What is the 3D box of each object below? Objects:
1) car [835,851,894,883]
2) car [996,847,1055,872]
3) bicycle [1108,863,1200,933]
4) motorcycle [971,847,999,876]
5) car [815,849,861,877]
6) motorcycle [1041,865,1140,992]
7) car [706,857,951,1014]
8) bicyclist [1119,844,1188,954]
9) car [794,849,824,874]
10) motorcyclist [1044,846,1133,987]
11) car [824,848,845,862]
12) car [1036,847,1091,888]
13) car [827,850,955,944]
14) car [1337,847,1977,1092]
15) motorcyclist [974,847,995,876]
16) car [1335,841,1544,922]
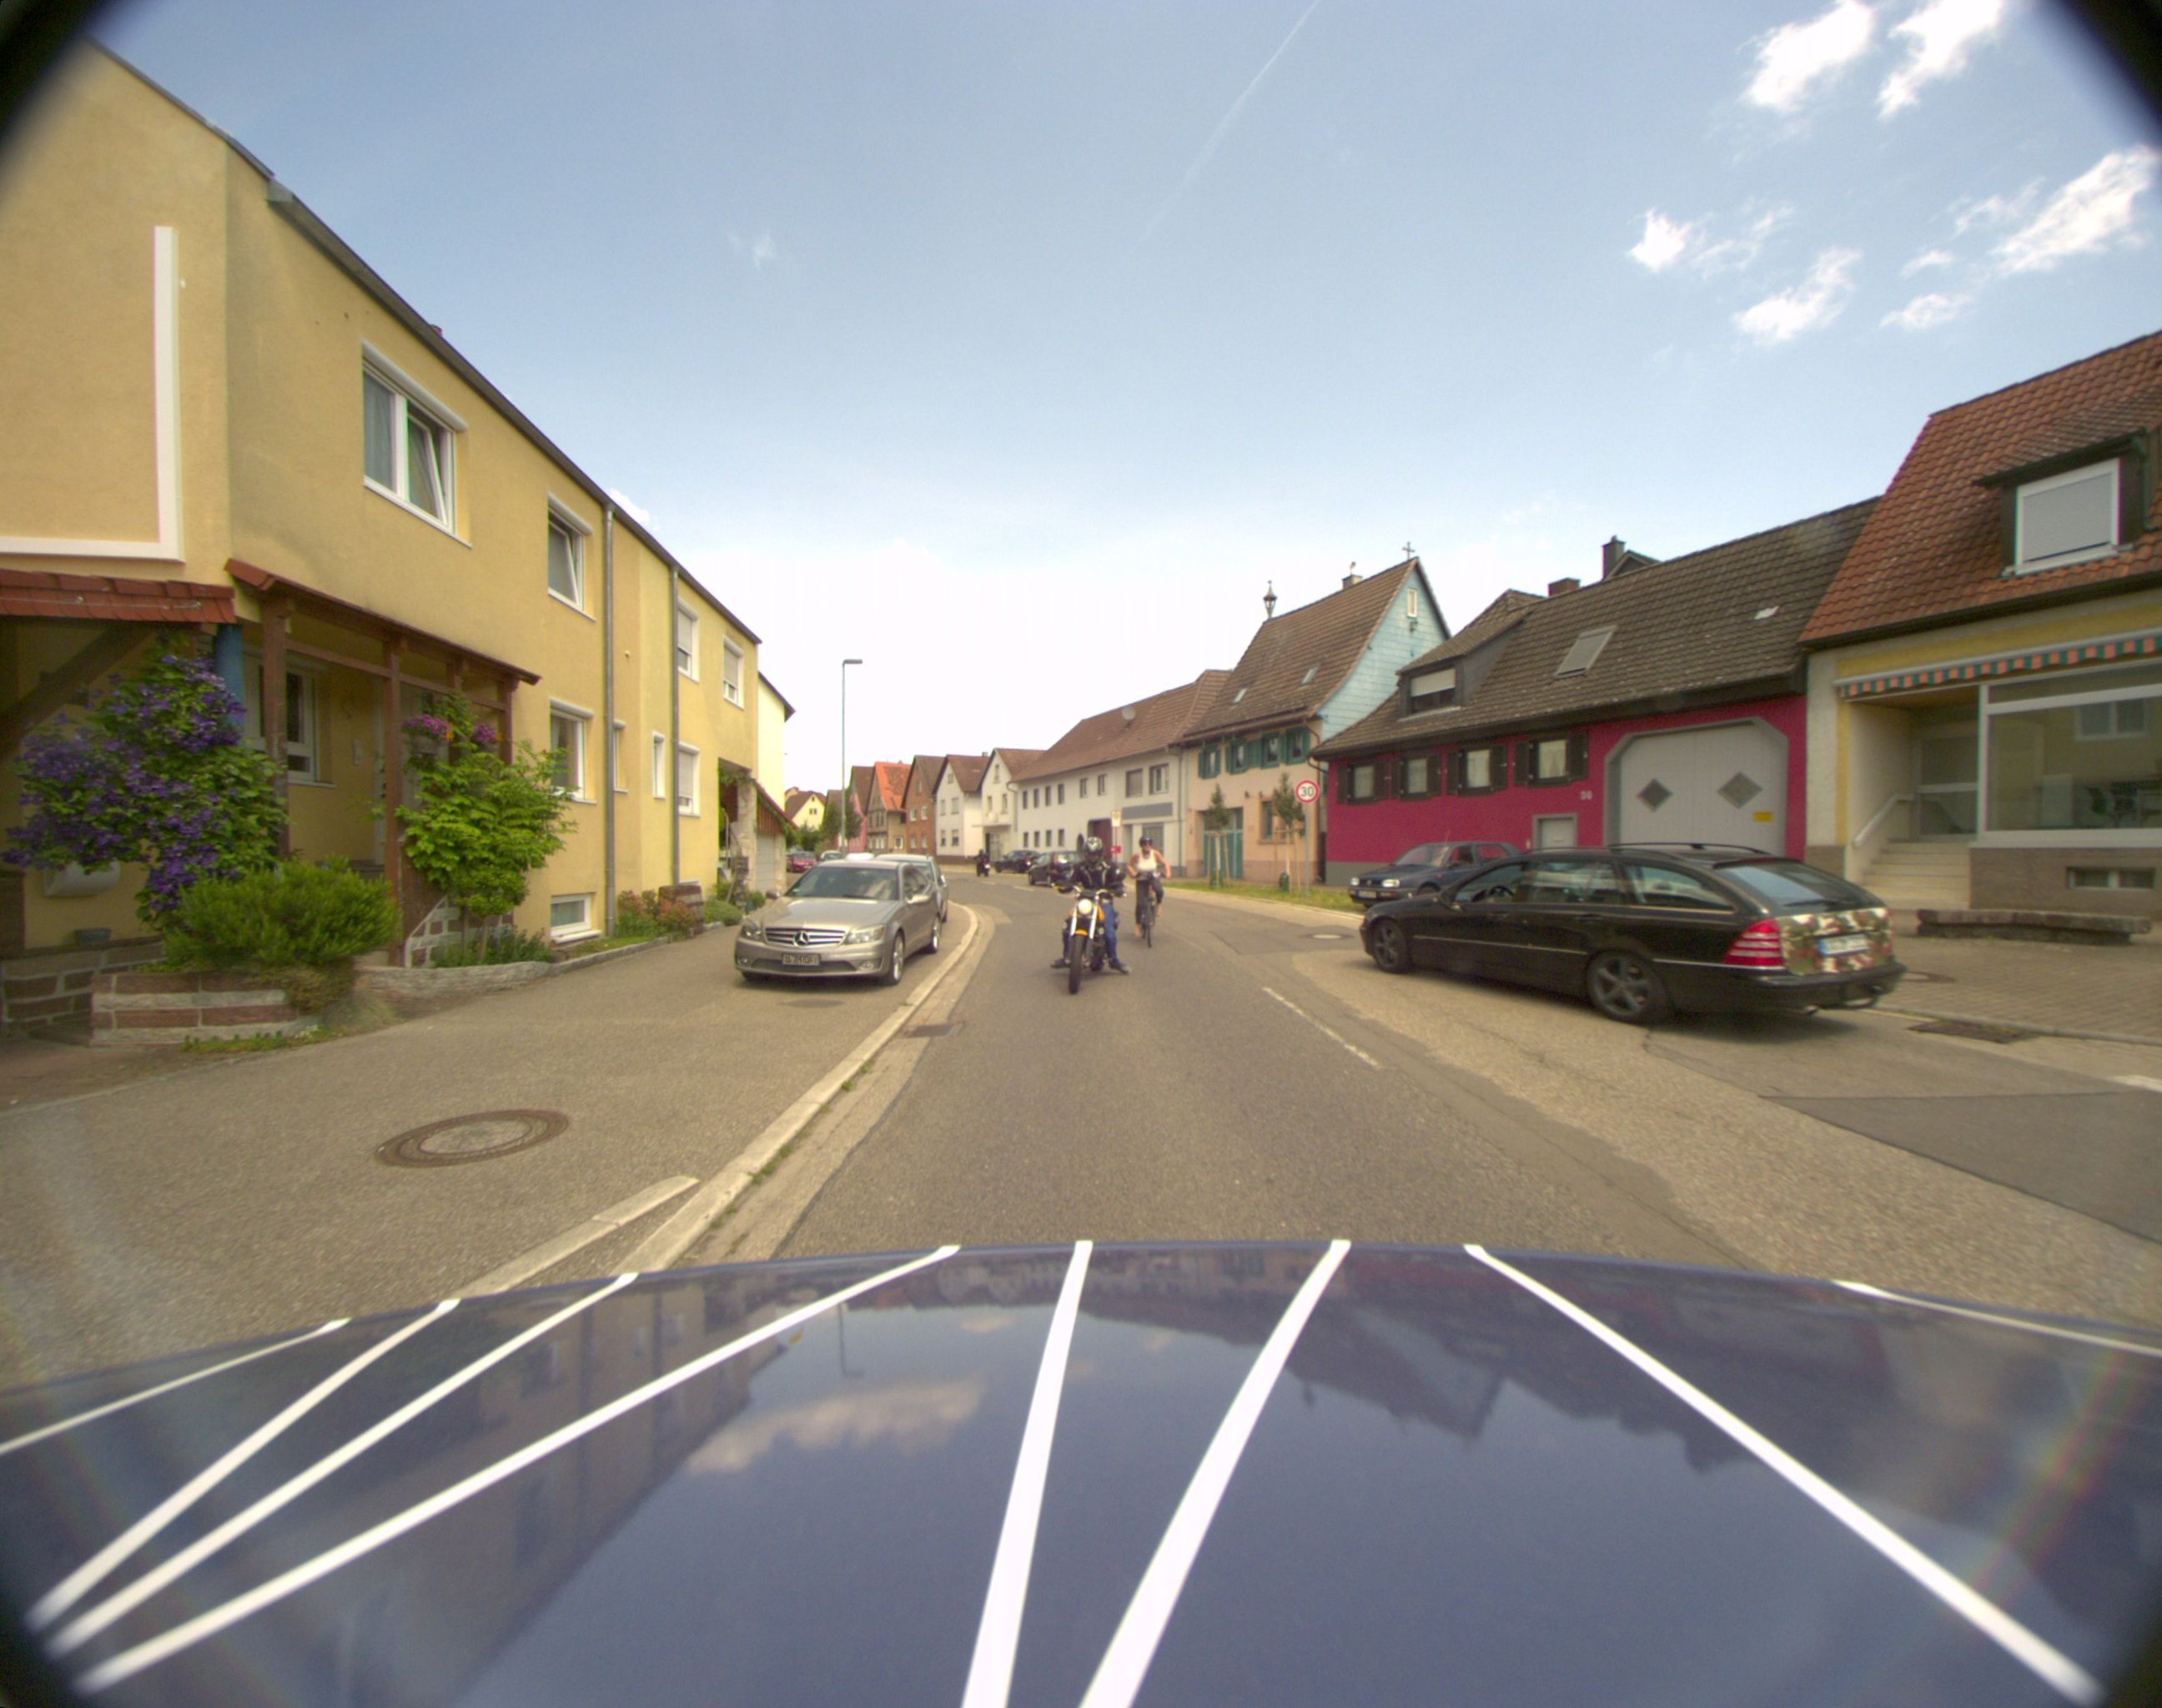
[{"bbox_3d":[-10.750,0.602,37.600,1.731,1.378,3.989,-1,2,-33],"label":"car"},{"bbox_3d":[-3.364,0.316,45.268,1.812,1.412,4.540,-2,1,-27],"label":"car"},{"bbox_3d":[1.141,0.677,12.378,0.935,1.005,1.922,-2,0,-12],"label":"bicycle"},{"bbox_3d":[-5.307,0.426,41.882,0.884,1.552,1.963,-1,0,-27],"label":"motorcycle"},{"bbox_3d":[-14.120,0.559,44.083,1.776,1.521,3.991,-1,-1,-29],"label":"car"},{"bbox_3d":[0.103,0.802,9.015,0.985,1.234,2.103,-2,1,0],"label":"motorcycle"},{"bbox_3d":[-2.960,0.843,9.968,1.775,1.392,4.422,2,2,-1],"label":"car"},{"bbox_3d":[1.157,0.690,12.240,0.910,1.679,0.760,-2,3,-11],"label":"bicyclist"},{"bbox_3d":[-19.165,0.510,53.439,1.668,1.638,3.992,-2,2,-23],"label":"car"},{"bbox_3d":[0.091,0.714,9.135,1.000,1.591,0.799,-1,3,0],"label":"motorcyclist"},{"bbox_3d":[-28.580,0.075,88.001,1.687,1.521,3.490,-2,3,-27],"label":"car"},{"bbox_3d":[-0.789,0.508,31.172,1.505,1.531,3.851,2,0,-12],"label":"car"},{"bbox_3d":[-3.596,0.737,15.131,1.891,1.521,4.332,2,1,-7],"label":"car"},{"bbox_3d":[4.699,0.710,7.262,1.815,1.404,4.627,-2,2,-19],"label":"car"},{"bbox_3d":[-5.339,0.413,41.934,0.900,1.545,0.805,-1,1,-27],"label":"motorcyclist"},{"bbox_3d":[7.589,0.503,16.102,3.983,1.456,1.718,-2,2,-21],"label":"car"}]
